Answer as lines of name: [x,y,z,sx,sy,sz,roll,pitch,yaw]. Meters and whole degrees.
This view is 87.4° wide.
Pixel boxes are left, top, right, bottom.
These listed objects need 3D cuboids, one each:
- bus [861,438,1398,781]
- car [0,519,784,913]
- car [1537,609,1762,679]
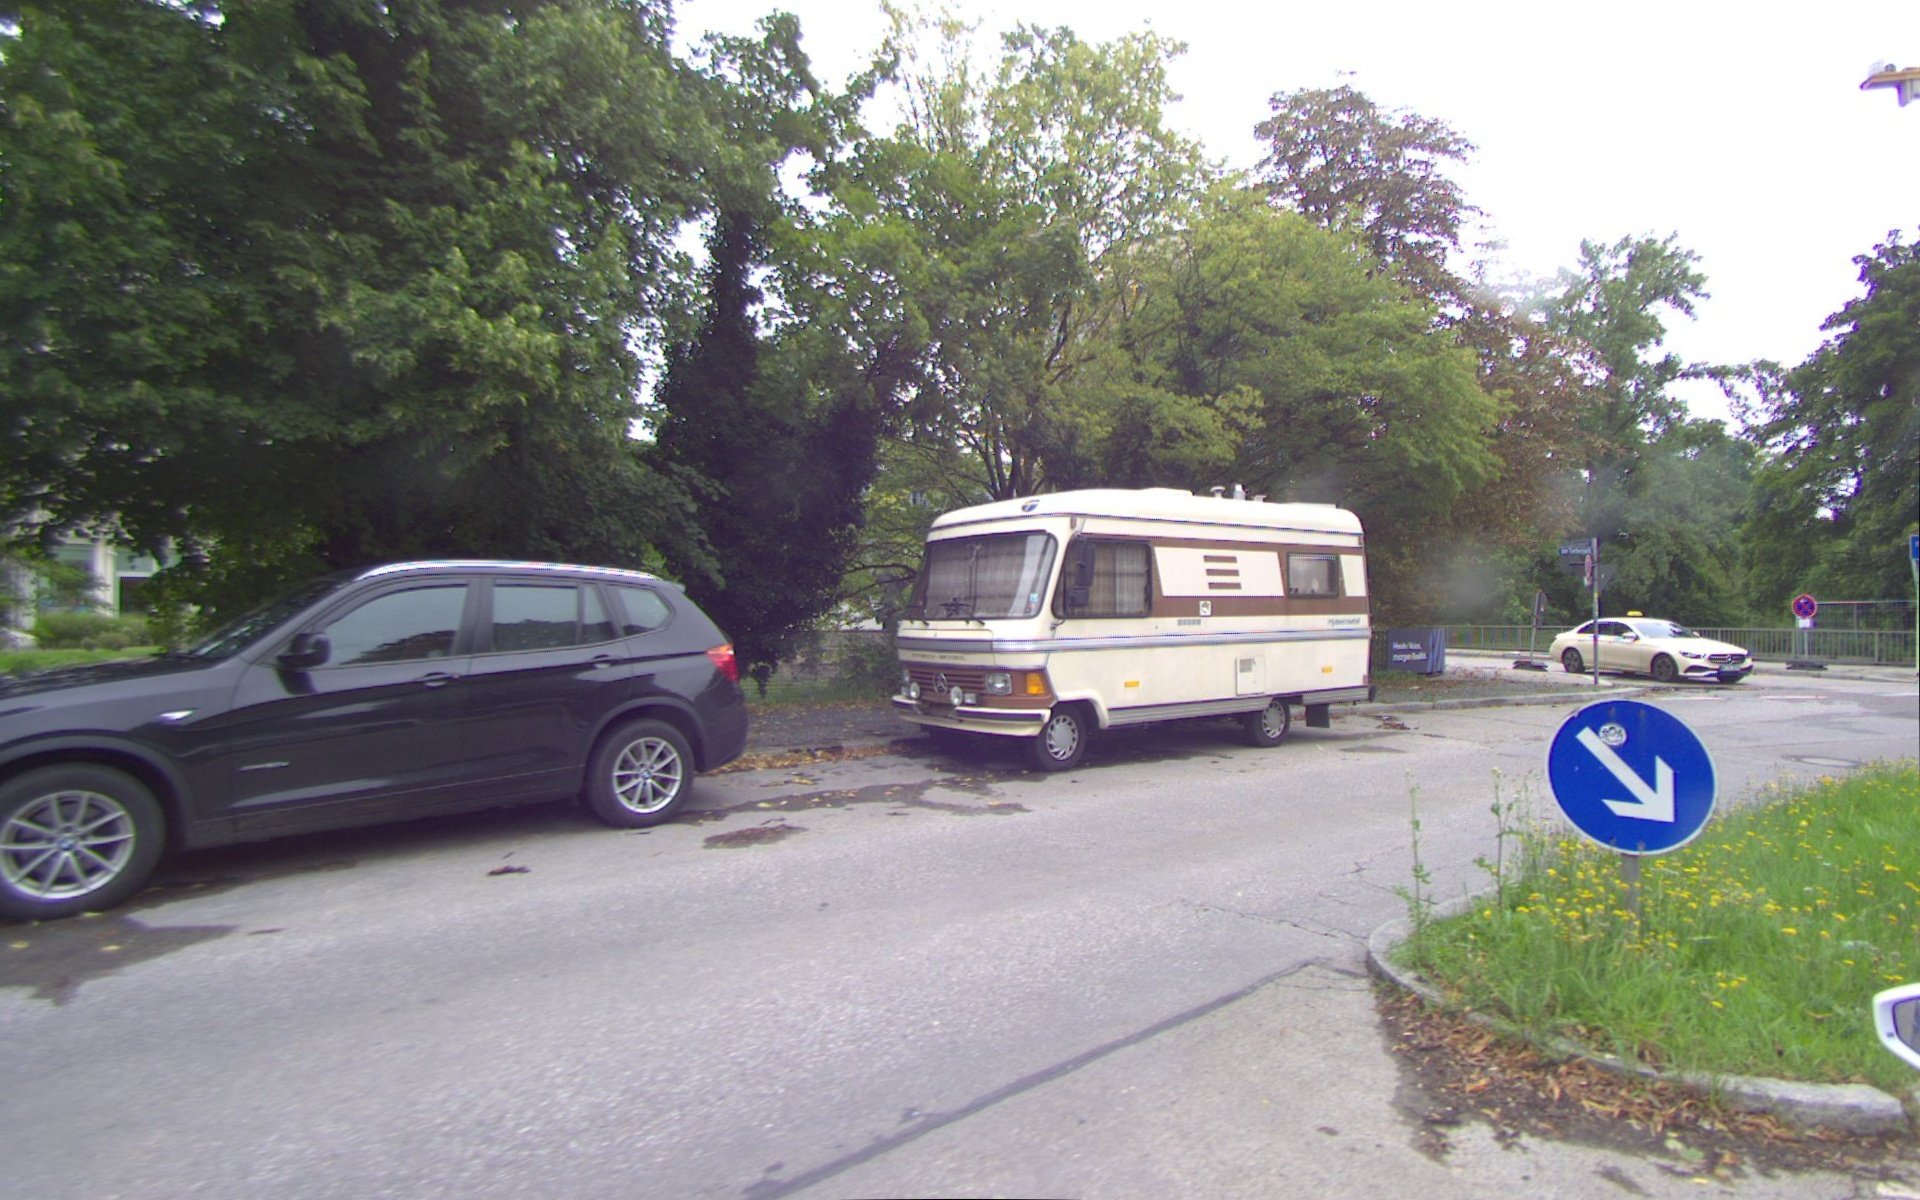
bus: [1.991,0.129,10.622,5.678,2.735,2.300,1,-1,-36]
car: [-3.421,0.529,6.091,4.429,1.671,1.759,1,-1,-43]
car: [16.848,1.012,24.907,1.859,1.566,4.847,0,-1,-8]
